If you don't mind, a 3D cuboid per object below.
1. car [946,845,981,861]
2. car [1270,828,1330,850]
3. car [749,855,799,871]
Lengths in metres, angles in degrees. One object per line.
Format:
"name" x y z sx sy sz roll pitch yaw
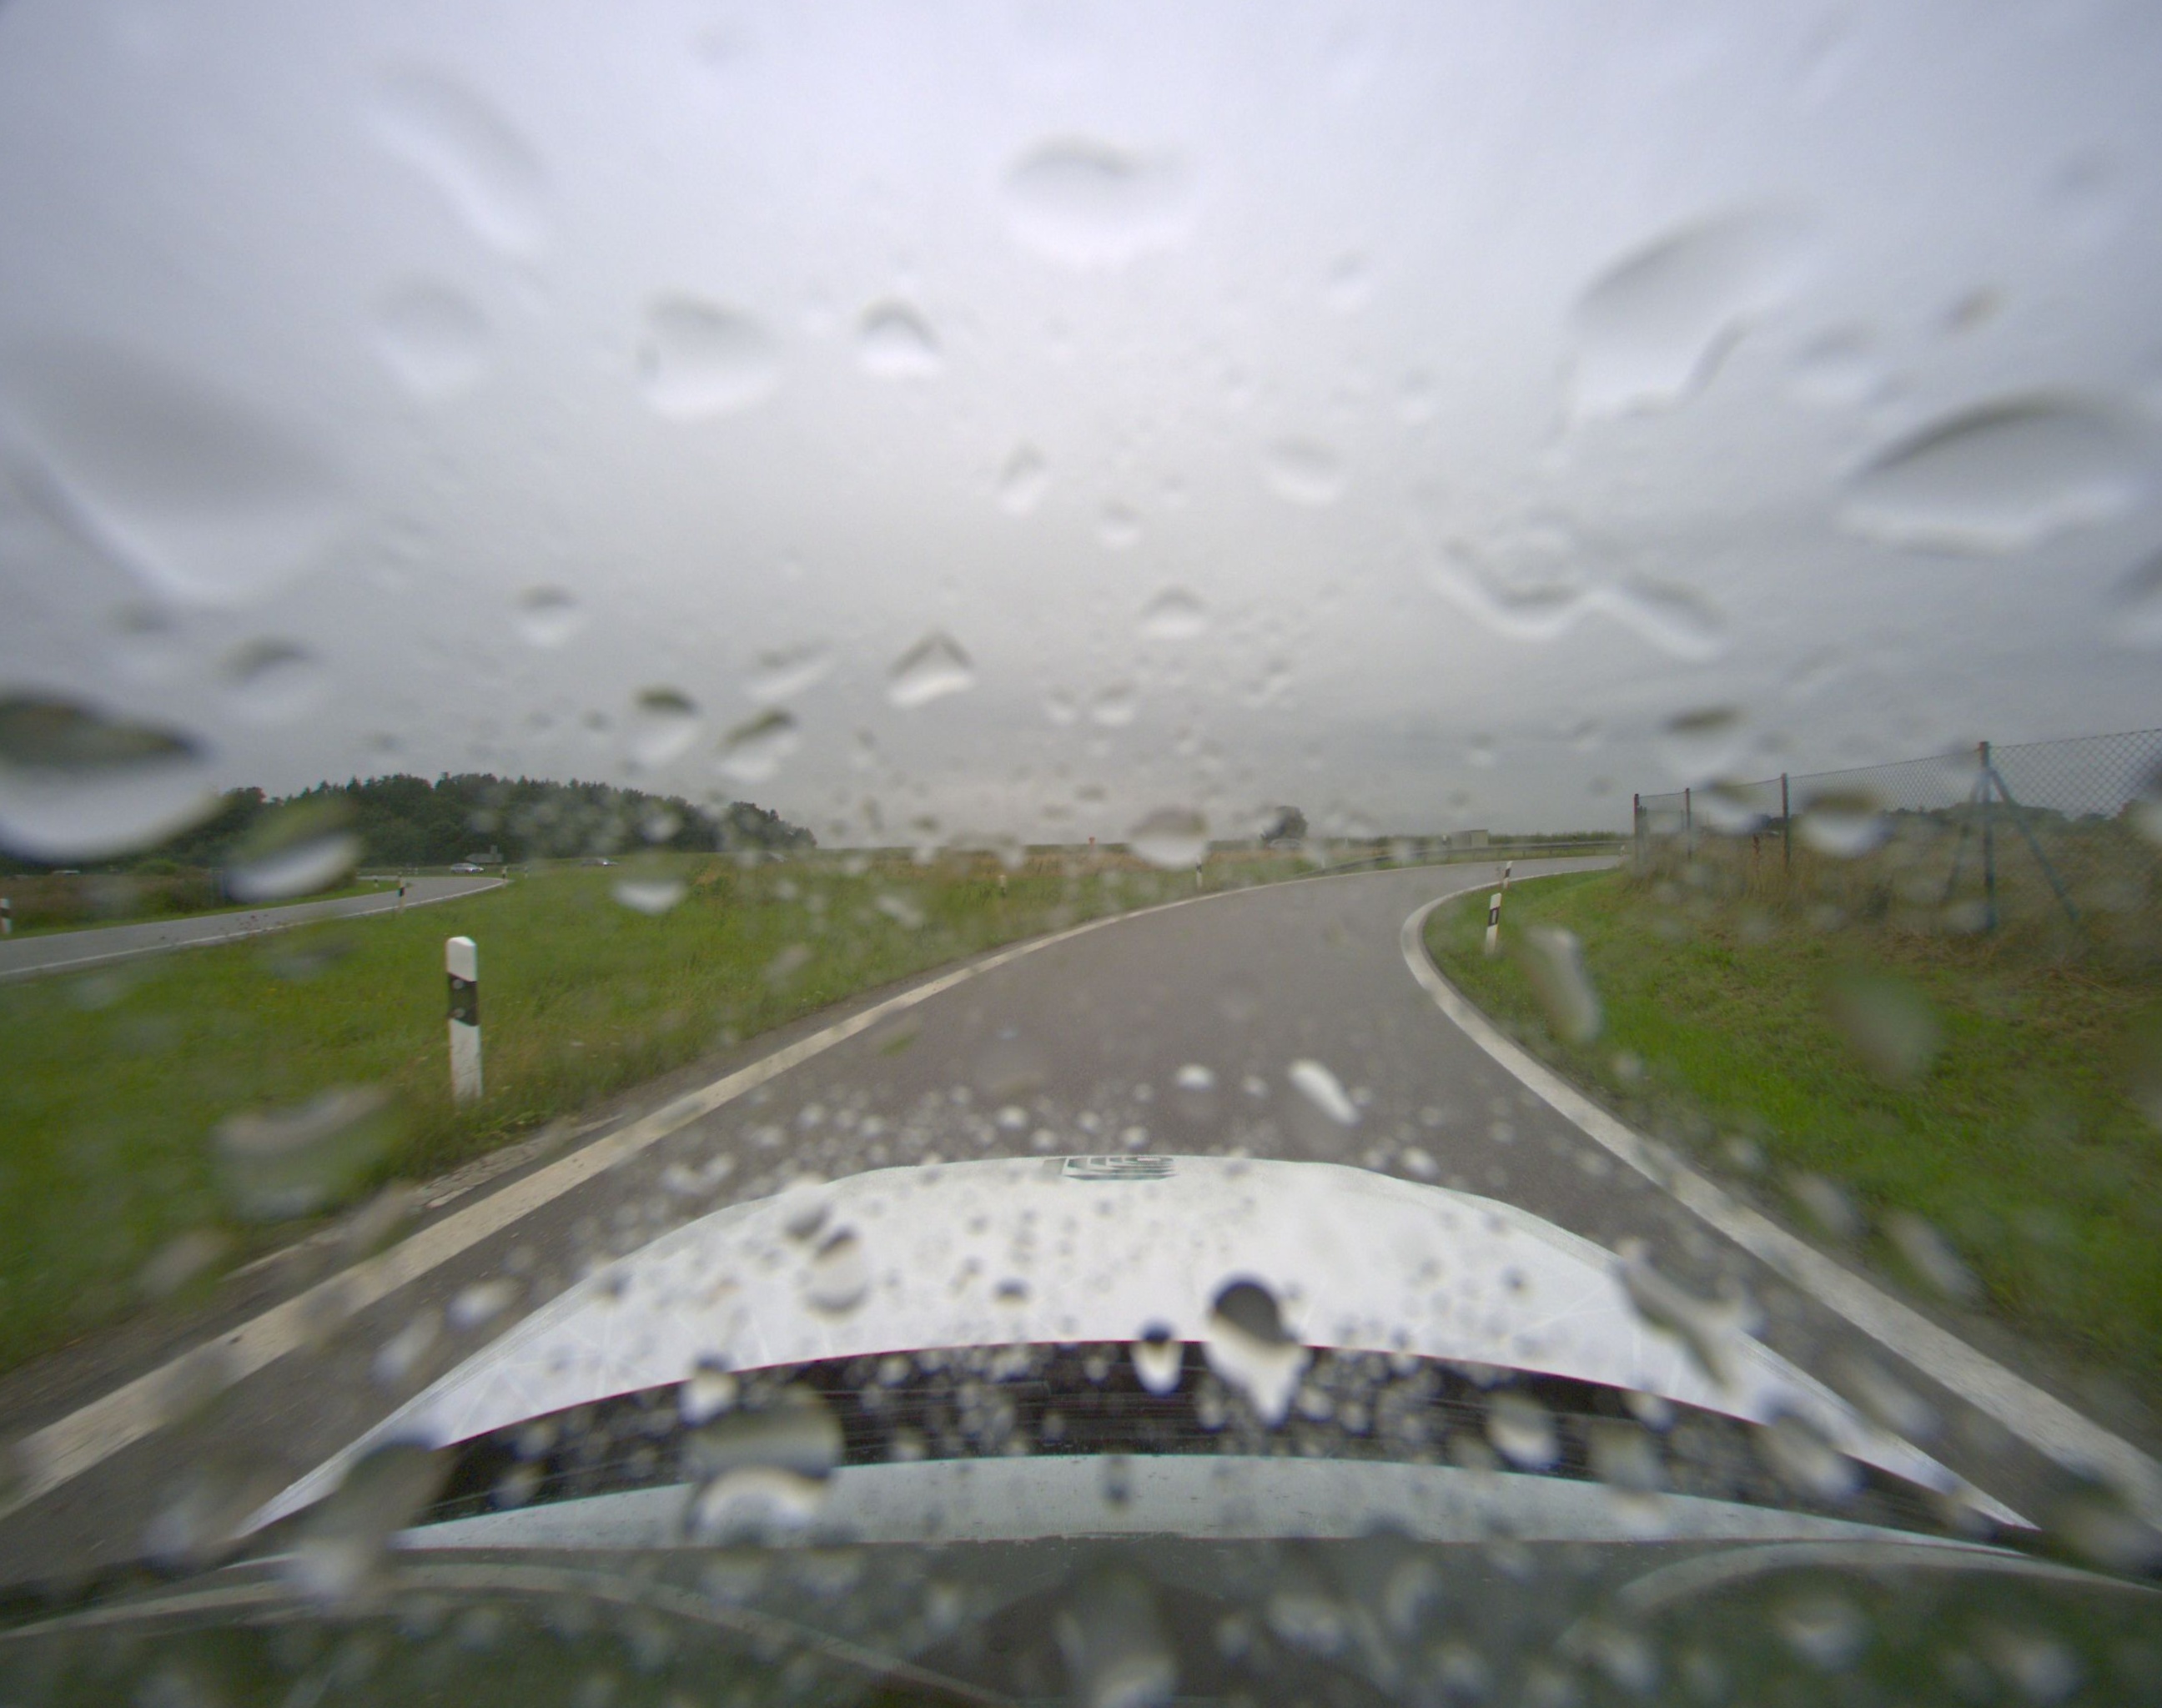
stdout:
"car" -14.608 -0.125 101.273 3.954 1.736 1.744 -2 1 20
"car" 17.480 -1.161 64.975 4.296 1.636 2.071 -1 0 23
"car" -31.604 0.928 83.949 4.539 1.636 2.165 -1 1 23
